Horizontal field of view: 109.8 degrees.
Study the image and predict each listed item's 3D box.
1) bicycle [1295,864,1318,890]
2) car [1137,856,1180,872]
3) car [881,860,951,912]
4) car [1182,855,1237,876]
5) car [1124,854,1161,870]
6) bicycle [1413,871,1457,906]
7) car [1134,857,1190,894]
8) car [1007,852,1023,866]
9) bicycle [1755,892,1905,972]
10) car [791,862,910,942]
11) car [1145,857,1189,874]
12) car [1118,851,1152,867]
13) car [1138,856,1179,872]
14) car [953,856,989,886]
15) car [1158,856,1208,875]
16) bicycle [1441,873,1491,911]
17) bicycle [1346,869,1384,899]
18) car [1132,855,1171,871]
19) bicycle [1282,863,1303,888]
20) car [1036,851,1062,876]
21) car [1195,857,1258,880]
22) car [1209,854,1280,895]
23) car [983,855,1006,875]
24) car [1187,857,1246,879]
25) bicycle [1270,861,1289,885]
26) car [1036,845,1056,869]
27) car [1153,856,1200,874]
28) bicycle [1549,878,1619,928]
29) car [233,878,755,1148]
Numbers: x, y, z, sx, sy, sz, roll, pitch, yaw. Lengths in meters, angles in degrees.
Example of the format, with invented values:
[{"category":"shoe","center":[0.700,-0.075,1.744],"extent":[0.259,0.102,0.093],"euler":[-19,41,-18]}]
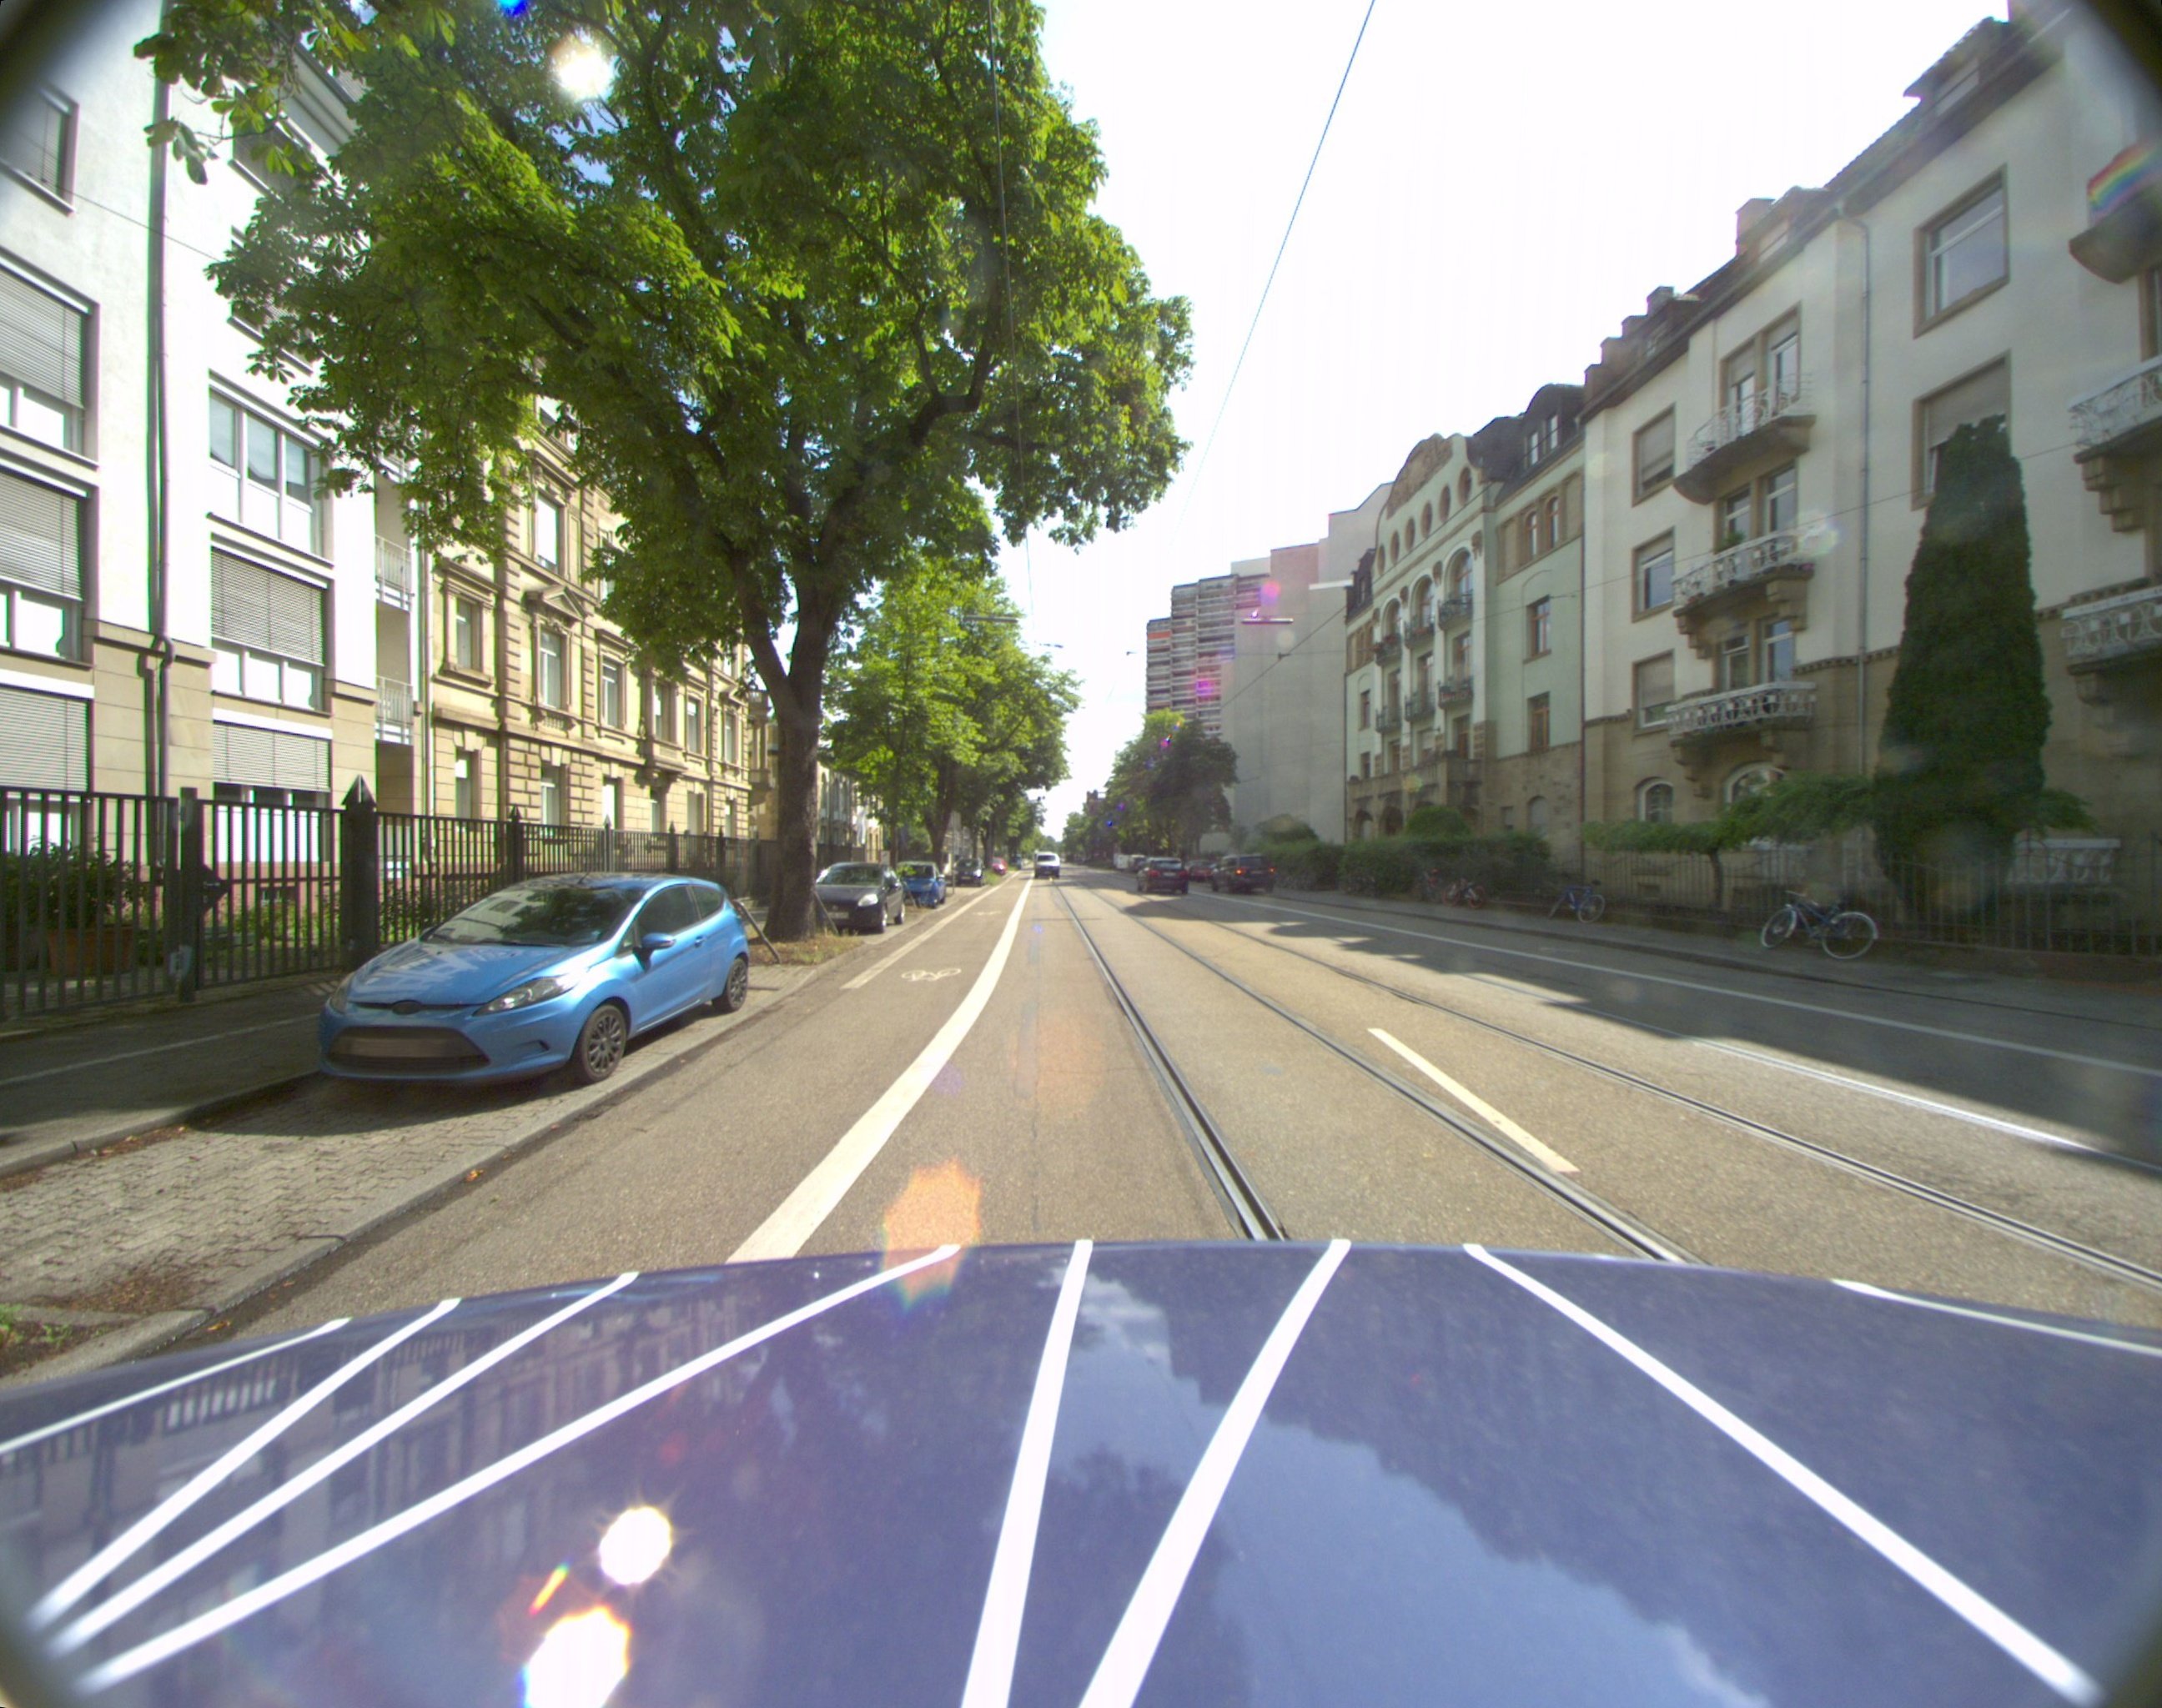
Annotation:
[{"category":"bicycle","center":[10.138,1.013,34.178],"extent":[0.468,1.128,1.787],"euler":[0,0,-1]},{"category":"car","center":[7.460,0.986,72.590],"extent":[3.994,1.499,2.001],"euler":[0,0,8]},{"category":"car","center":[-5.339,0.985,24.938],"extent":[1.679,1.467,3.659],"euler":[3,0,-4]},{"category":"car","center":[9.613,0.860,57.059],"extent":[3.994,1.499,2.001],"euler":[0,0,8]},{"category":"car","center":[6.783,0.884,83.649],"extent":[3.994,1.672,2.001],"euler":[0,0,8]},{"category":"bicycle","center":[10.686,1.026,22.980],"extent":[0.468,0.990,1.787],"euler":[0,0,-1]},{"category":"car","center":[3.483,0.891,33.248],"extent":[1.761,1.509,4.067],"euler":[0,0,-4]},{"category":"car","center":[-7.889,0.542,91.144],"extent":[1.744,1.564,3.928],"euler":[3,0,-4]},{"category":"bicycle","center":[11.092,1.118,11.353],"extent":[0.467,0.990,1.979],"euler":[0,0,7]},{"category":"car","center":[-4.925,0.966,16.724],"extent":[1.679,1.467,3.659],"euler":[3,0,-4]},{"category":"car","center":[7.867,1.012,69.381],"extent":[3.994,1.499,2.001],"euler":[0,0,8]},{"category":"car","center":[6.360,0.545,89.484],"extent":[1.994,1.740,4.008],"euler":[-1,1,41]},{"category":"car","center":[7.786,0.984,75.751],"extent":[3.994,1.499,2.001],"euler":[0,0,8]},{"category":"car","center":[-6.252,0.957,43.515],"extent":[1.744,1.564,3.659],"euler":[3,0,-4]},{"category":"car","center":[8.467,0.962,63.106],"extent":[3.994,1.499,2.001],"euler":[0,0,8]},{"category":"bicycle","center":[10.649,1.032,21.082],"extent":[0.468,0.990,1.787],"euler":[0,0,-1]},{"category":"bicycle","center":[10.095,1.060,27.067],"extent":[0.605,0.990,1.981],"euler":[0,0,-1]},{"category":"car","center":[7.367,0.902,79.224],"extent":[3.994,1.672,2.001],"euler":[0,0,8]},{"category":"bicycle","center":[10.055,0.993,36.120],"extent":[0.468,1.128,1.787],"euler":[0,0,-1]},{"category":"car","center":[-2.523,0.702,59.806],"extent":[1.974,1.901,4.817],"euler":[0,0,-2]},{"category":"car","center":[9.516,0.934,50.002],"extent":[3.994,1.499,2.001],"euler":[0,0,8]},{"category":"car","center":[7.236,0.846,34.037],"extent":[1.922,1.685,4.400],"euler":[0,0,-5]},{"category":"car","center":[-7.522,0.941,66.470],"extent":[1.744,1.564,3.928],"euler":[3,0,-4]},{"category":"car","center":[9.479,0.943,53.510],"extent":[3.994,1.499,2.001],"euler":[0,0,8]},{"category":"bicycle","center":[9.954,0.948,38.217],"extent":[0.468,1.128,1.787],"euler":[0,0,-1]},{"category":"car","center":[-3.853,0.296,83.393],"extent":[2.146,2.568,4.817],"euler":[0,0,-2]},{"category":"car","center":[8.368,0.974,66.262],"extent":[3.994,1.499,2.001],"euler":[0,0,8]},{"category":"bicycle","center":[10.942,1.044,16.598],"extent":[0.467,0.990,1.787],"euler":[0,0,5]},{"category":"car","center":[-4.323,1.028,6.426],"extent":[1.647,1.467,3.660],"euler":[3,0,-3]}]
